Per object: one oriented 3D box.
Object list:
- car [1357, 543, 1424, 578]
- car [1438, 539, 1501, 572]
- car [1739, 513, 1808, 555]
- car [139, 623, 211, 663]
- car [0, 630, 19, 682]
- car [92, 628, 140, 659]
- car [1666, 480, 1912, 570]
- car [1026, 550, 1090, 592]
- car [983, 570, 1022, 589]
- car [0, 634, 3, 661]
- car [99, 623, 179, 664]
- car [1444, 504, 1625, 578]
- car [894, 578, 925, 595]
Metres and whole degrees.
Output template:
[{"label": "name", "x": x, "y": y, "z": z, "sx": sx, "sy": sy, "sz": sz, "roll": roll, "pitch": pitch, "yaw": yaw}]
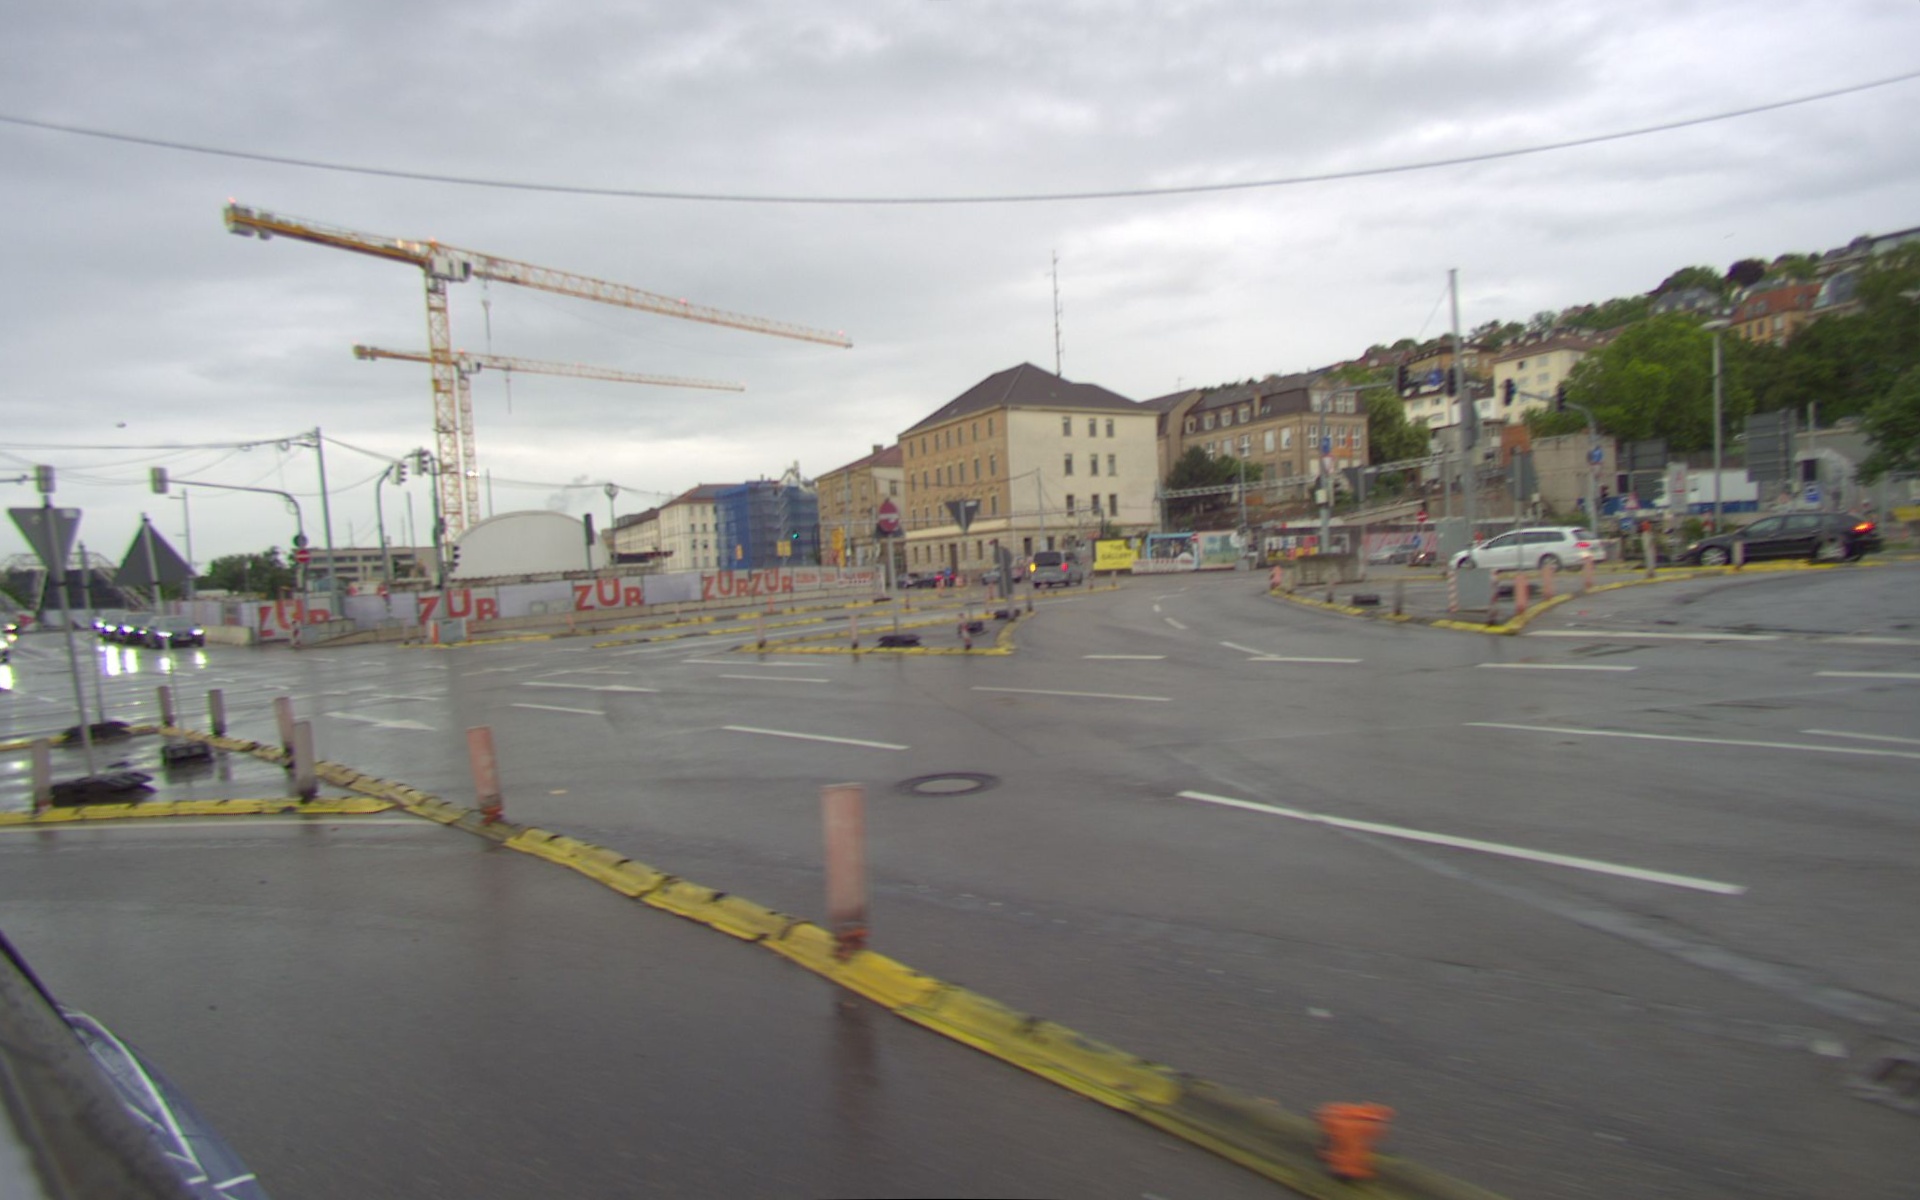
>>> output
[{"label": "car", "x": 29.504, "y": -2.700, "z": 69.407, "sx": 3.932, "sy": 2.028, "sz": 2.007, "roll": -6, "pitch": 4, "yaw": -25}, {"label": "car", "x": 36.671, "y": -3.207, "z": 72.825, "sx": 3.932, "sy": 2.028, "sz": 2.007, "roll": -6, "pitch": 4, "yaw": -25}, {"label": "car", "x": 46.988, "y": -3.827, "z": 58.446, "sx": 3.935, "sy": 2.028, "sz": 2.005, "roll": -7, "pitch": 4, "yaw": -34}, {"label": "car", "x": -36.351, "y": 2.012, "z": 46.850, "sx": 3.800, "sy": 1.577, "sz": 1.837, "roll": -3, "pitch": 3, "yaw": 41}, {"label": "car", "x": -40.882, "y": 2.431, "z": 41.880, "sx": 4.415, "sy": 2.028, "sz": 1.976, "roll": -3, "pitch": 3, "yaw": 37}, {"label": "car", "x": -50.657, "y": 2.592, "z": 60.706, "sx": 1.970, "sy": 1.568, "sz": 4.530, "roll": -7, "pitch": 3, "yaw": -41}, {"label": "car", "x": 22.164, "y": -1.951, "z": 27.251, "sx": 1.967, "sy": 2.028, "sz": 4.703, "roll": -7, "pitch": 4, "yaw": -33}, {"label": "car", "x": 5.130, "y": -1.534, "z": 52.447, "sx": 1.986, "sy": 1.852, "sz": 4.651, "roll": -3, "pitch": 3, "yaw": 22}, {"label": "car", "x": 3.404, "y": -1.689, "z": 81.687, "sx": 1.556, "sy": 1.356, "sz": 3.820, "roll": -5, "pitch": 4, "yaw": -22}, {"label": "car", "x": -46.540, "y": 2.071, "z": 47.373, "sx": 4.354, "sy": 1.784, "sz": 1.974, "roll": -3, "pitch": 3, "yaw": 41}, {"label": "car", "x": -40.888, "y": 2.157, "z": 50.371, "sx": 4.415, "sy": 1.730, "sz": 1.976, "roll": -3, "pitch": 3, "yaw": 37}, {"label": "car", "x": 18.494, "y": -1.862, "z": 32.798, "sx": 1.967, "sy": 2.028, "sz": 4.655, "roll": -7, "pitch": 4, "yaw": -33}, {"label": "car", "x": -4.894, "y": -1.299, "z": 97.582, "sx": 1.623, "sy": 1.474, "sz": 3.427, "roll": -6, "pitch": 4, "yaw": -27}]
